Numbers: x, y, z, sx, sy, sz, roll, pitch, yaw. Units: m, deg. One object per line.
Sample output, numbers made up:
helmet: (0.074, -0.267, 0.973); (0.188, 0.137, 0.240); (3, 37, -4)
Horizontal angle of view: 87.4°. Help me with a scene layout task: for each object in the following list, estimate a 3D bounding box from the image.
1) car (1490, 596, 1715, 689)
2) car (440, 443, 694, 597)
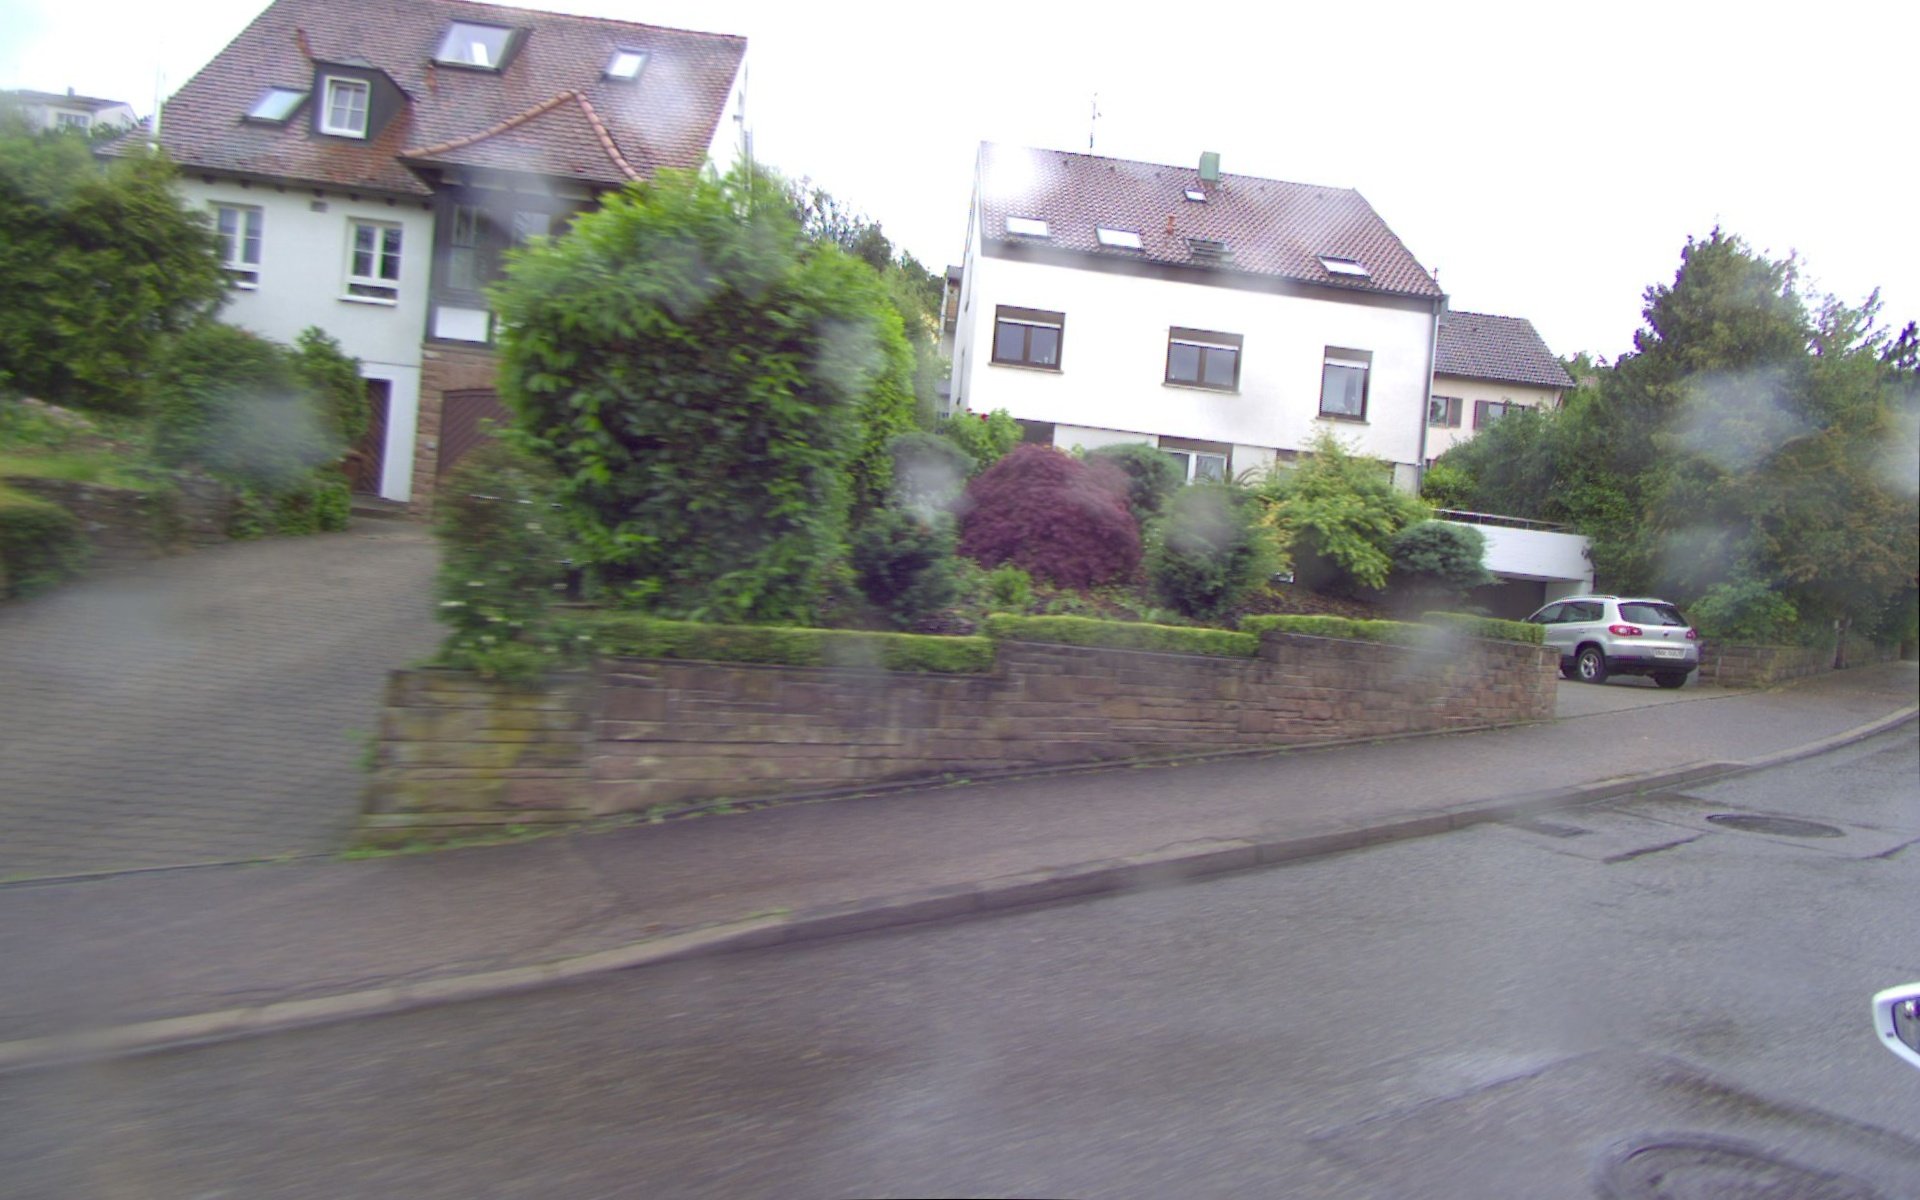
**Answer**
car: (12.640, 0.842, 20.096); (1.828, 1.605, 3.945); (2, -2, -3)
car: (-4.621, -1.125, 12.471); (1.697, 1.545, 3.793); (2, 9, -1)
